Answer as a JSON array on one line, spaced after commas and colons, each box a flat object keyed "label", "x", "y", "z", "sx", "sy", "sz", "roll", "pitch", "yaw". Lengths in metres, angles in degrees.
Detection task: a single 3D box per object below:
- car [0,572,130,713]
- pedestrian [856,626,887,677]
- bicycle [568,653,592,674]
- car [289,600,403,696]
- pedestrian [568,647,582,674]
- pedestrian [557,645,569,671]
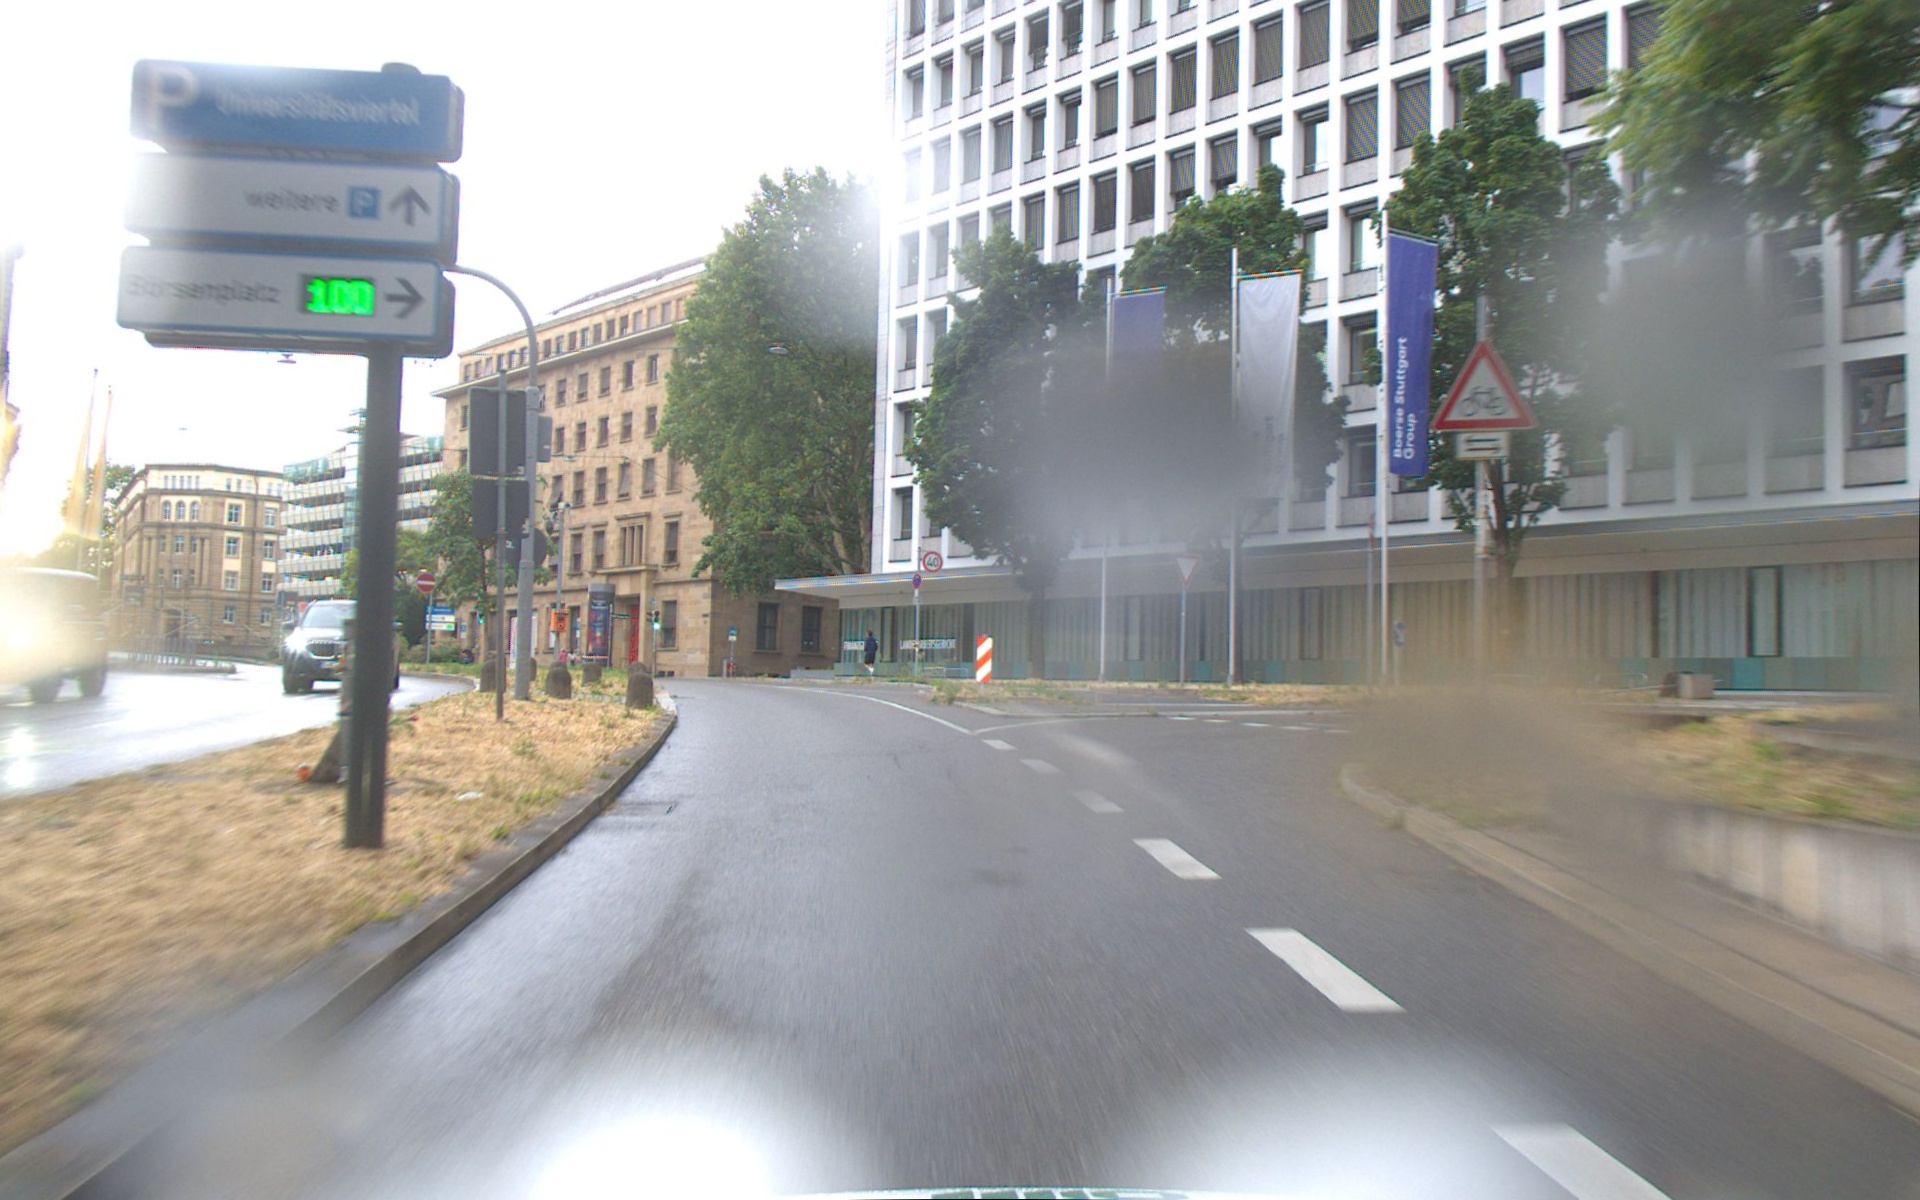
[{"label": "car", "x": -14.162, "y": 0.592, "z": 25.046, "sx": 1.806, "sy": 1.955, "sz": 4.626, "roll": 0, "pitch": 0, "yaw": -13}, {"label": "pedestrian", "x": -3.212, "y": 1.881, "z": 59.950, "sx": 0.773, "sy": 1.803, "sz": 0.852, "roll": 4, "pitch": -4, "yaw": -35}, {"label": "bicycle", "x": -19.525, "y": 3.253, "z": 84.947, "sx": 0.484, "sy": 1.030, "sz": 1.905, "roll": 4, "pitch": -4, "yaw": -33}, {"label": "car", "x": -11.153, "y": 0.817, "z": 30.195, "sx": 1.817, "sy": 1.616, "sz": 4.364, "roll": 0, "pitch": 0, "yaw": -19}, {"label": "pedestrian", "x": -23.189, "y": 3.659, "z": 99.647, "sx": 0.520, "sy": 1.631, "sz": 0.665, "roll": 4, "pitch": -4, "yaw": -36}, {"label": "pedestrian", "x": -23.801, "y": 3.489, "z": 99.078, "sx": 0.518, "sy": 1.518, "sz": 0.668, "roll": 3, "pitch": -4, "yaw": -26}]
